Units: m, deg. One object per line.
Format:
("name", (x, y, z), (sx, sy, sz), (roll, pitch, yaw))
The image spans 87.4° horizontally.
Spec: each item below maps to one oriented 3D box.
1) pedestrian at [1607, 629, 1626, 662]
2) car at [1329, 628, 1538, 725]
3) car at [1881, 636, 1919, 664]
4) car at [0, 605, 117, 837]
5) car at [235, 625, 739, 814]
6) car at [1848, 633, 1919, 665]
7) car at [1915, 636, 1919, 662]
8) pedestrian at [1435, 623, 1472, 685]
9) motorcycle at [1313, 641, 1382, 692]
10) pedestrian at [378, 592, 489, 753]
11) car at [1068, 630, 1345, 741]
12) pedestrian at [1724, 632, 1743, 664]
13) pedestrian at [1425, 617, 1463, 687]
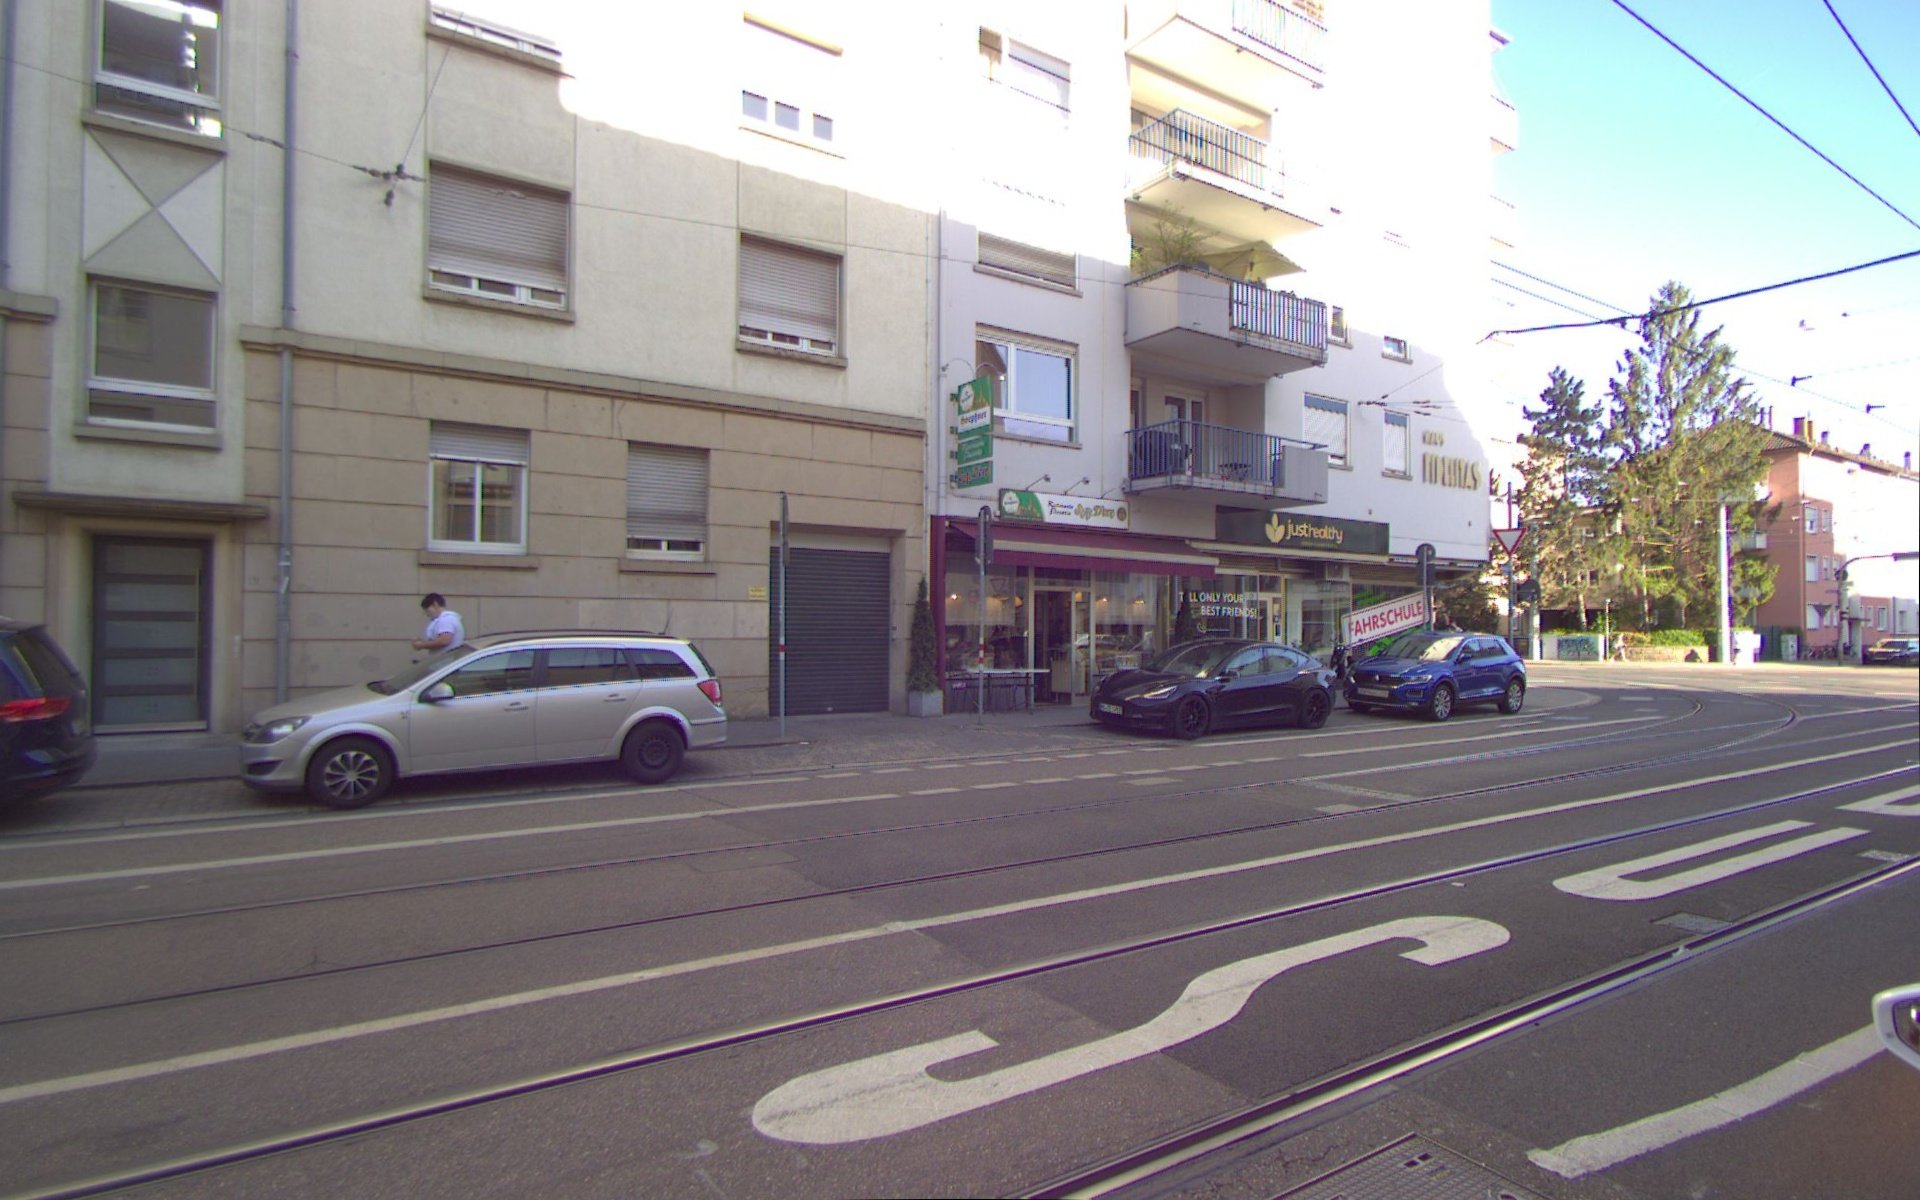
("pedestrian", (35.273, 2.450, 53.952), (0.772, 1.744, 0.702), (2, 0, 37))
("car", (9.028, 1.356, 19.050), (4.196, 1.524, 1.757), (0, 1, -36))
("car", (53.707, 2.809, 56.450), (4.057, 1.456, 1.893), (2, 0, -32))
("car", (-8.964, 0.858, 7.186), (4.282, 1.655, 1.802), (2, 1, -35))
("car", (-4.628, 1.058, 10.181), (4.327, 1.474, 1.714), (2, 1, -35))
("car", (49.731, 2.643, 53.884), (4.397, 1.450, 2.140), (4, -1, -35))
("car", (58.272, 2.934, 59.369), (4.185, 1.546, 1.731), (2, 0, -34))
("pedestrian", (14.742, 1.595, 30.023), (0.653, 1.816, 0.733), (1, -1, -27))
("motorcycle", (9.230, 1.569, 23.902), (1.778, 1.149, 0.603), (2, 0, -34))
("pedestrian", (-6.173, 0.821, 11.782), (0.998, 1.791, 0.656), (2, 0, -40))
("car", (4.001, 1.287, 16.058), (4.398, 1.494, 1.759), (2, 0, -33))
("pedestrian", (39.340, 2.424, 51.079), (0.507, 1.589, 0.574), (2, 0, 3))
("pedestrian", (13.697, 1.457, 28.408), (0.727, 1.925, 0.573), (3, -2, -15))
